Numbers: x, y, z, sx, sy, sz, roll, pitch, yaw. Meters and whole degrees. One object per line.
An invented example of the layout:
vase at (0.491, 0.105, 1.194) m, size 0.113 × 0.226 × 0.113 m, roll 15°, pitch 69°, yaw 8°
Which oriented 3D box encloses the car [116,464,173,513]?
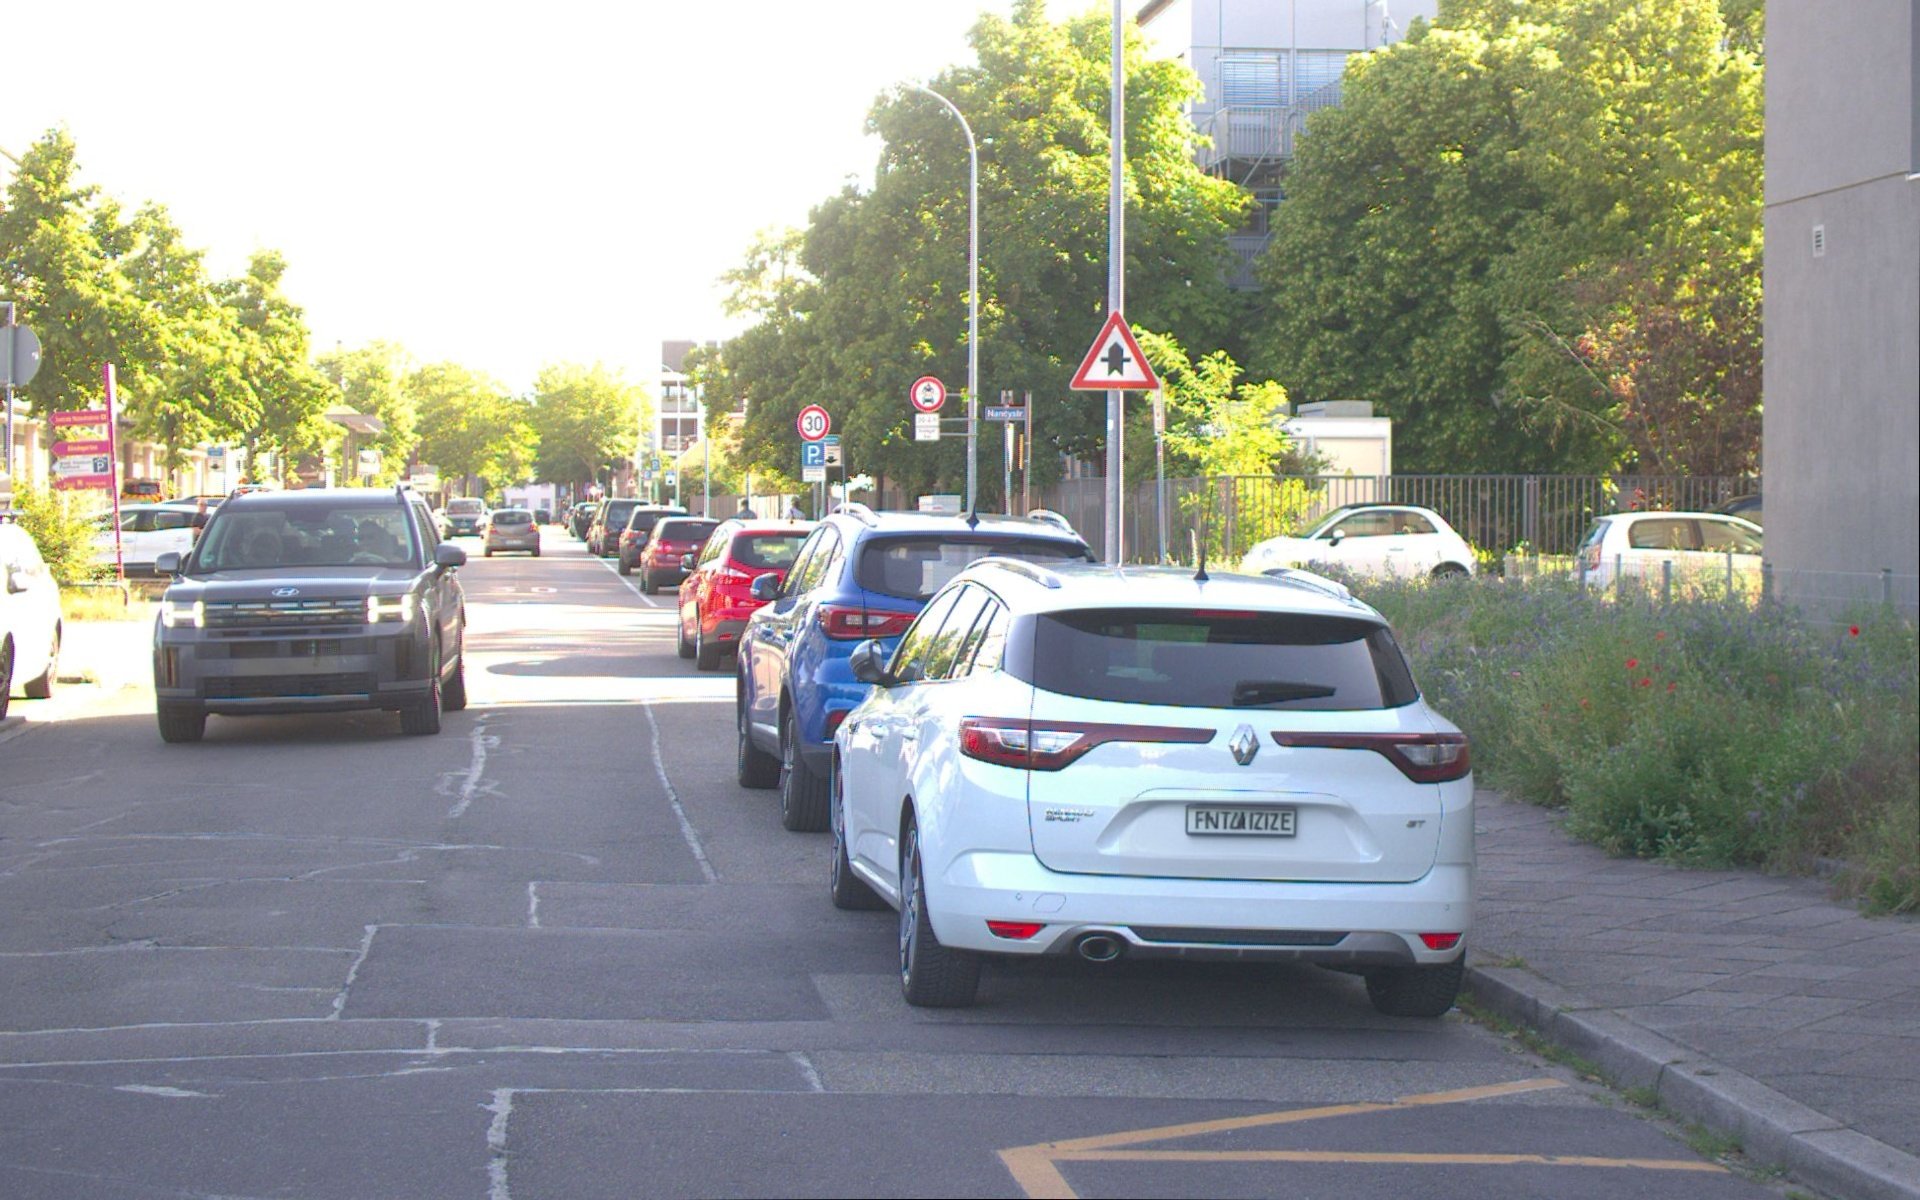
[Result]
car at (-35.037, -4.784, 147.770) m, size 1.993 × 2.007 × 4.001 m, roll 0°, pitch 0°, yaw -7°

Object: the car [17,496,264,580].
car at (-16.501, -1.246, 69.386) m, size 4.611 × 1.645 × 1.868 m, roll 0°, pitch 1°, yaw -3°

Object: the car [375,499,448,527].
car at (-30.833, -4.896, 193.449) m, size 3.986 × 1.514 × 2.000 m, roll 0°, pitch 0°, yaw -7°

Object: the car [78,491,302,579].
car at (-17.411, -1.478, 77.871) m, size 4.741 × 1.858 × 1.828 m, roll 1°, pitch 2°, yaw -7°

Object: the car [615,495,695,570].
car at (-7.386, -1.664, 82.962) m, size 1.811 × 1.660 × 4.594 m, roll 1°, pitch 2°, yaw -6°

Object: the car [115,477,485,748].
car at (-4.651, 0.011, 24.934) m, size 1.942 × 1.721 × 4.839 m, roll -2°, pitch 2°, yaw -3°

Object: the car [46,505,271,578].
car at (-16.805, -1.233, 72.258) m, size 4.433 × 1.495 × 1.828 m, roll 0°, pitch 1°, yaw -7°

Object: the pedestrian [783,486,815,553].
pedestrian at (-4.025, -2.026, 85.955) m, size 0.698 × 1.655 × 0.752 m, roll -1°, pitch 2°, yaw -7°

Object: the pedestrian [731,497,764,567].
pedestrian at (-5.464, -1.747, 88.366) m, size 0.717 × 1.752 × 0.885 m, roll -2°, pitch 2°, yaw -6°

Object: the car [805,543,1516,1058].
car at (0.494, 0.560, 12.366) m, size 1.744 × 1.424 × 4.587 m, roll 2°, pitch 1°, yaw -7°

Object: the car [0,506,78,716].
car at (-8.075, 0.012, 26.897) m, size 1.695 × 1.508 × 4.518 m, roll 2°, pitch 1°, yaw -7°

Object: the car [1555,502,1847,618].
car at (9.465, -0.527, 44.076) m, size 3.326 × 1.453 × 1.715 m, roll 0°, pitch 2°, yaw -2°

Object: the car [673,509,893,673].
car at (-1.861, -0.140, 34.896) m, size 1.818 × 1.494 × 4.453 m, roll 2°, pitch 1°, yaw -8°

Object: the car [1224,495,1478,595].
car at (5.891, -0.841, 51.937) m, size 3.546 × 1.481 × 1.601 m, roll 0°, pitch 2°, yaw -6°

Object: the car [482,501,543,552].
car at (-13.981, -2.299, 107.507) m, size 1.743 × 1.538 × 4.001 m, roll 0°, pitch 1°, yaw -6°

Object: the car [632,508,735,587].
car at (-5.433, -1.054, 67.046) m, size 1.719 × 1.450 × 4.653 m, roll 1°, pitch 1°, yaw -8°

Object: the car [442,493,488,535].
car at (-22.683, -3.965, 157.519) m, size 1.954 × 1.861 × 5.257 m, roll 1°, pitch 1°, yaw -9°

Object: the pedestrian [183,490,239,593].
pedestrian at (-13.605, -1.067, 62.470) m, size 0.857 × 1.836 × 0.826 m, roll 2°, pitch 1°, yaw -5°

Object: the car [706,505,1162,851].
car at (-0.285, 0.315, 18.612) m, size 1.816 × 1.594 × 4.629 m, roll 2°, pitch 1°, yaw -8°

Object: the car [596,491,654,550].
car at (-10.522, -2.495, 107.720) m, size 1.732 × 1.824 × 3.906 m, roll 0°, pitch 2°, yaw -7°
